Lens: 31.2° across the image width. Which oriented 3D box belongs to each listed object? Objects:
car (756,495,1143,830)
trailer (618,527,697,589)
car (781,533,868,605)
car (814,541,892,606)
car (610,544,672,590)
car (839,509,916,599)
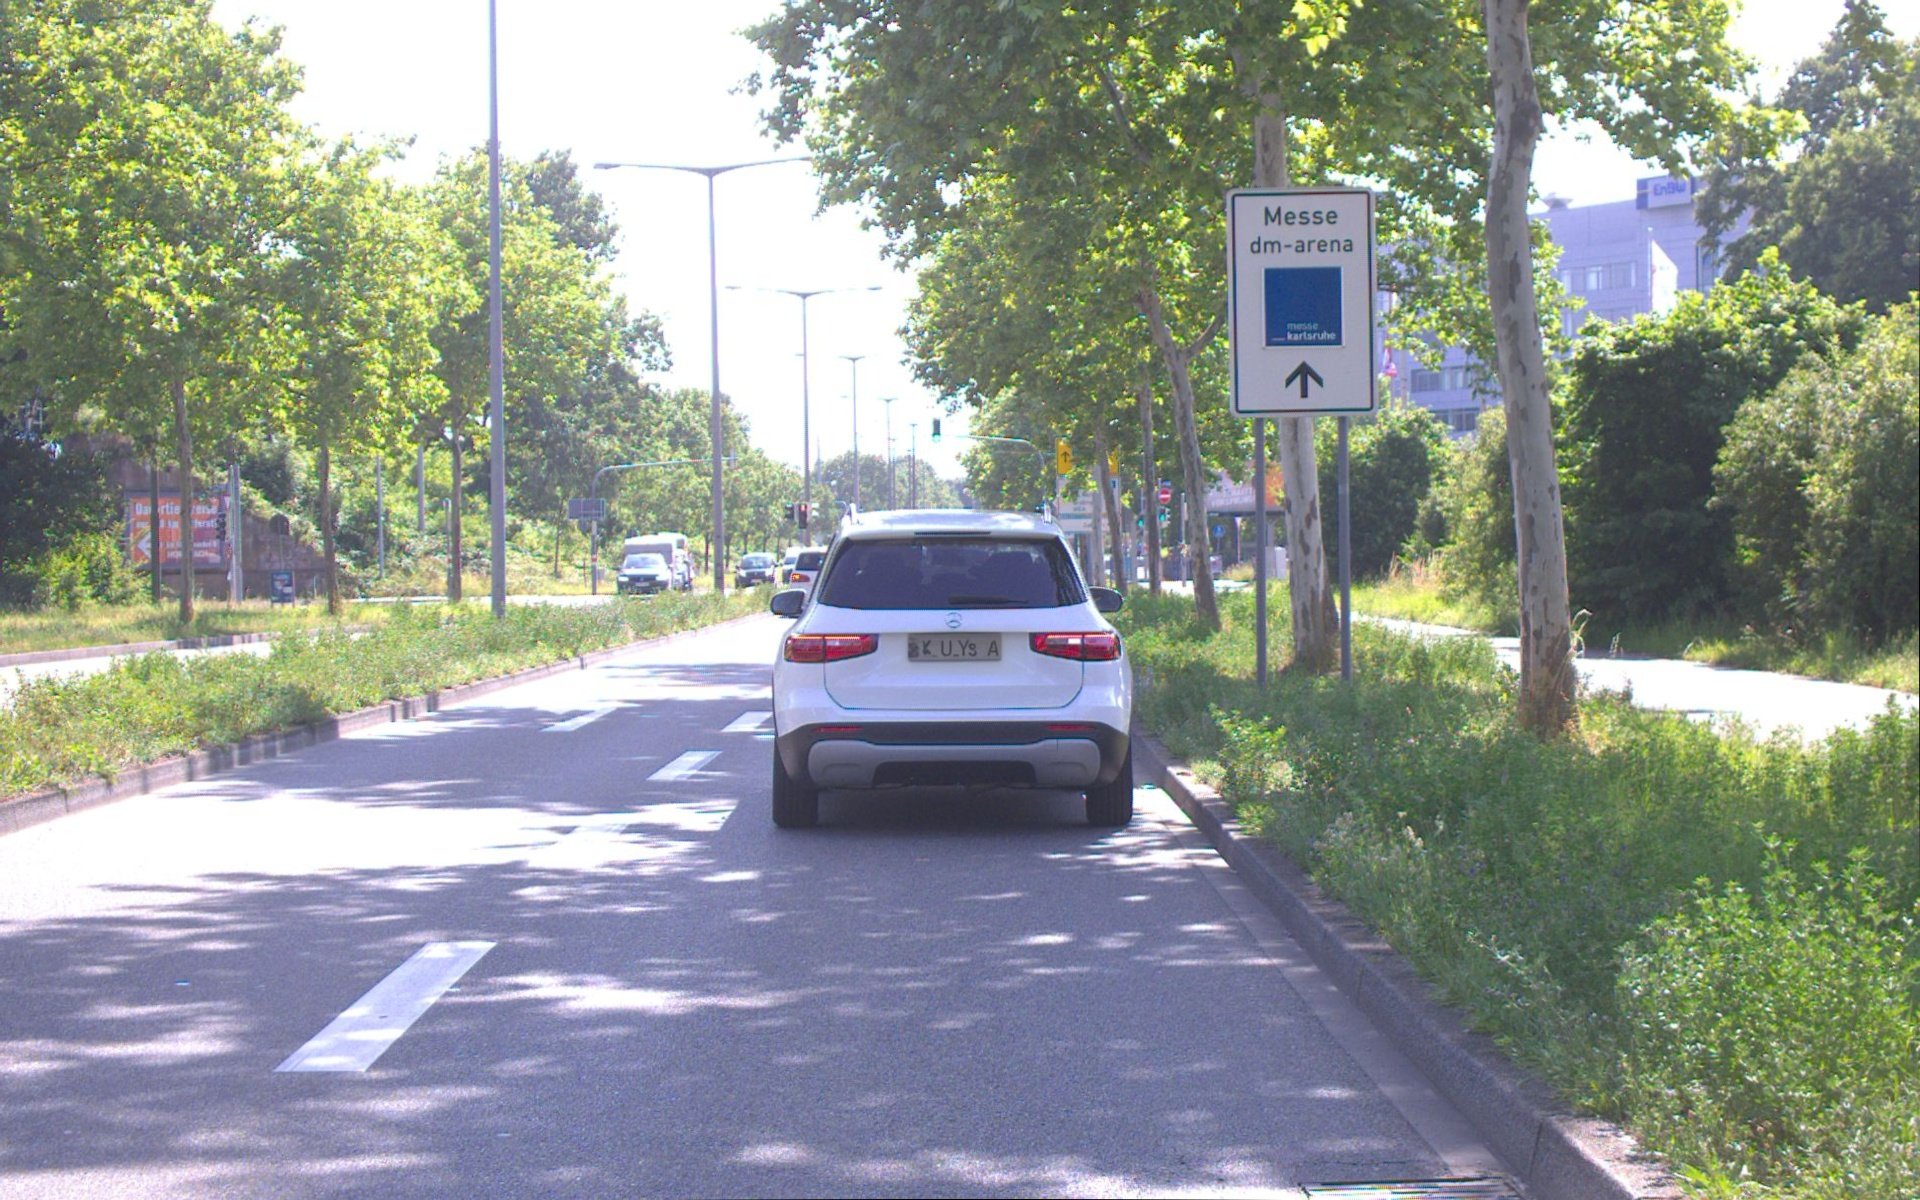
[{"bbox_3d":[-0.151,0.285,18.632,1.853,1.602,4.000,1,1,-3],"label":"car"},{"bbox_3d":[-11.249,-1.541,128.167,2.309,2.257,5.538,0,0,1],"label":"trailer"},{"bbox_3d":[-3.144,-0.730,80.568,1.771,1.641,4.352,0,0,1],"label":"car"},{"bbox_3d":[-2.734,-0.690,88.662,1.771,1.641,4.084,0,0,1],"label":"car"},{"bbox_3d":[-11.400,-1.194,123.187,1.715,1.616,4.361,0,0,1],"label":"car"},{"bbox_3d":[-2.478,-1.375,104.587,2.081,2.647,4.874,1,0,1],"label":"car"}]
